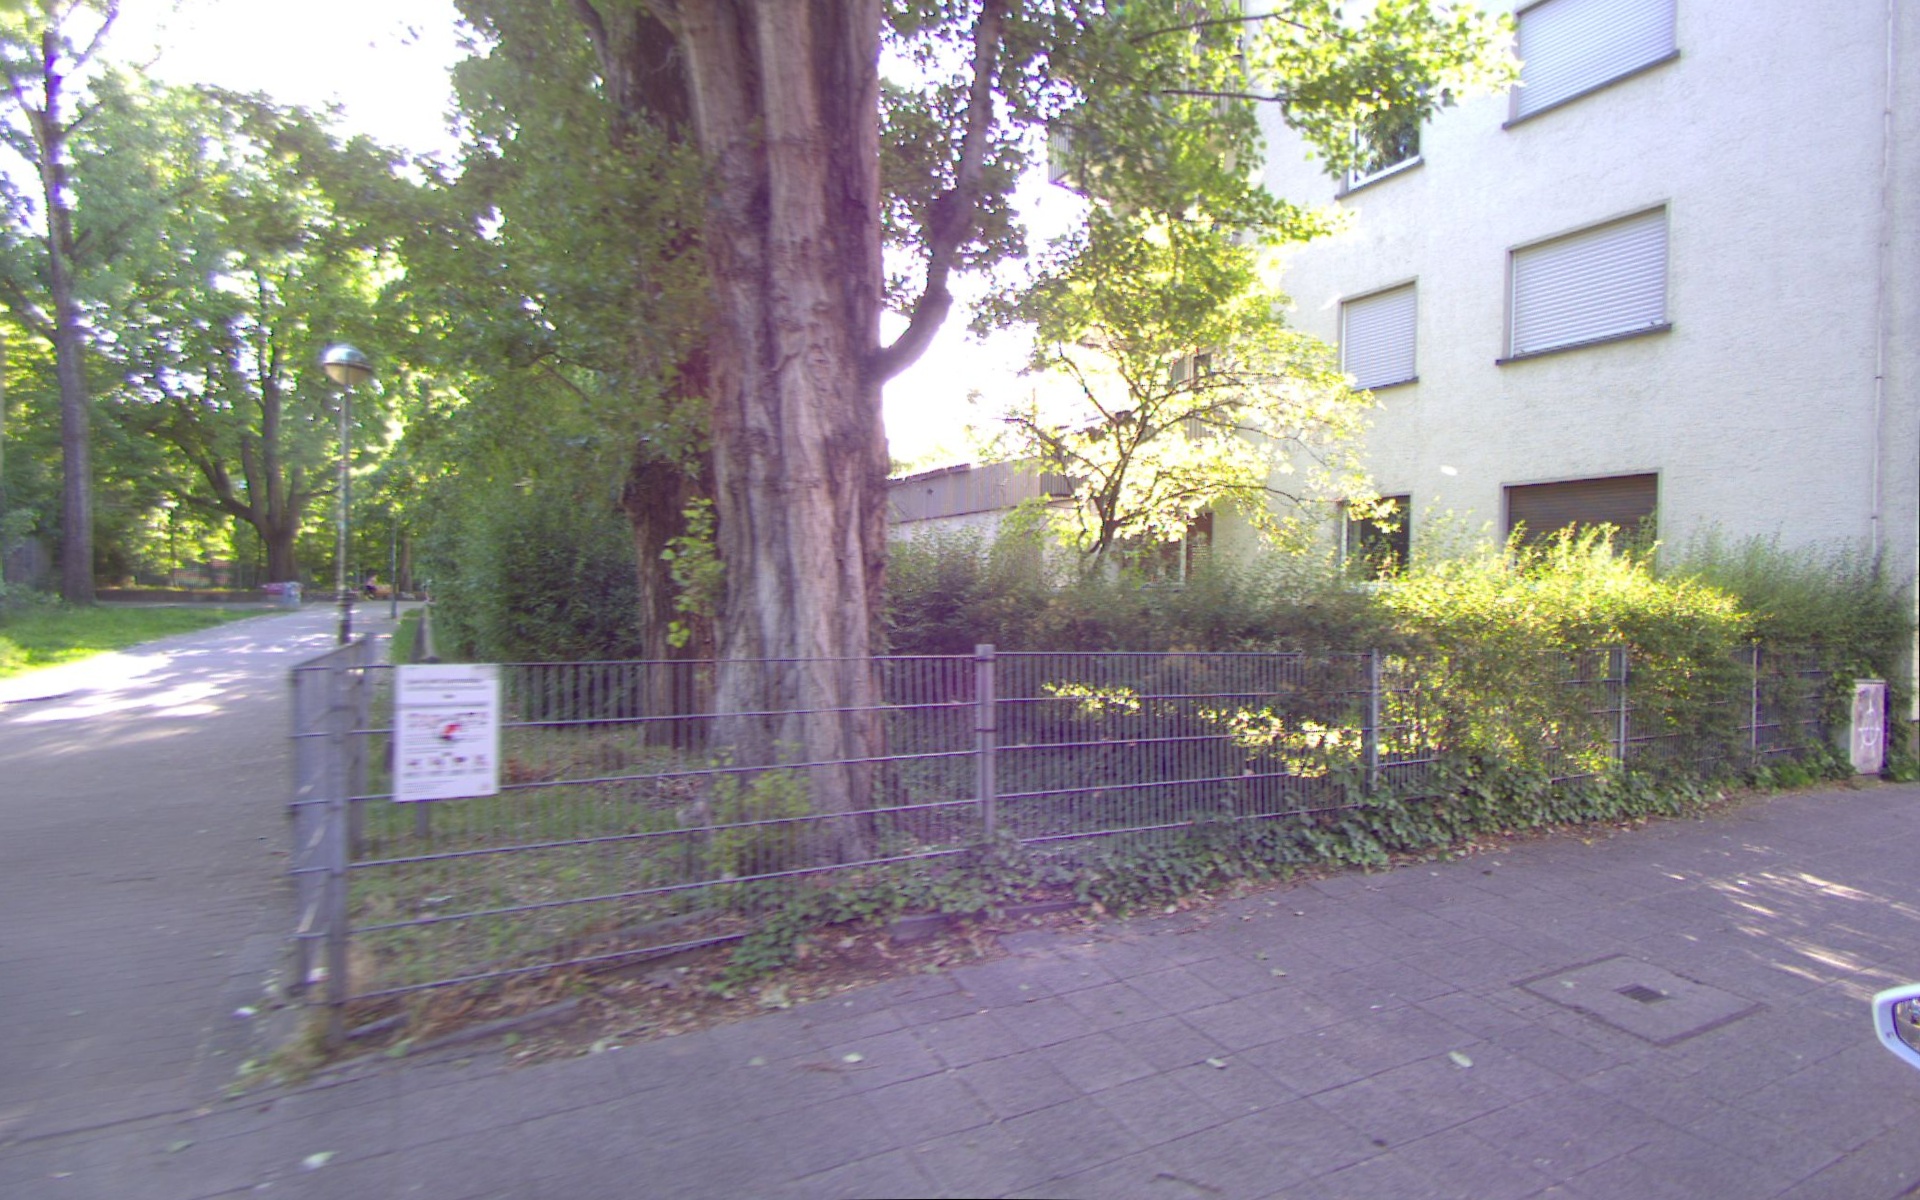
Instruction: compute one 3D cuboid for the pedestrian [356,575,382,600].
[{"bbox_3d":[-26.455,-0.548,44.939,0.753,1.105,0.766,2,1,35],"label":"pedestrian"}]
